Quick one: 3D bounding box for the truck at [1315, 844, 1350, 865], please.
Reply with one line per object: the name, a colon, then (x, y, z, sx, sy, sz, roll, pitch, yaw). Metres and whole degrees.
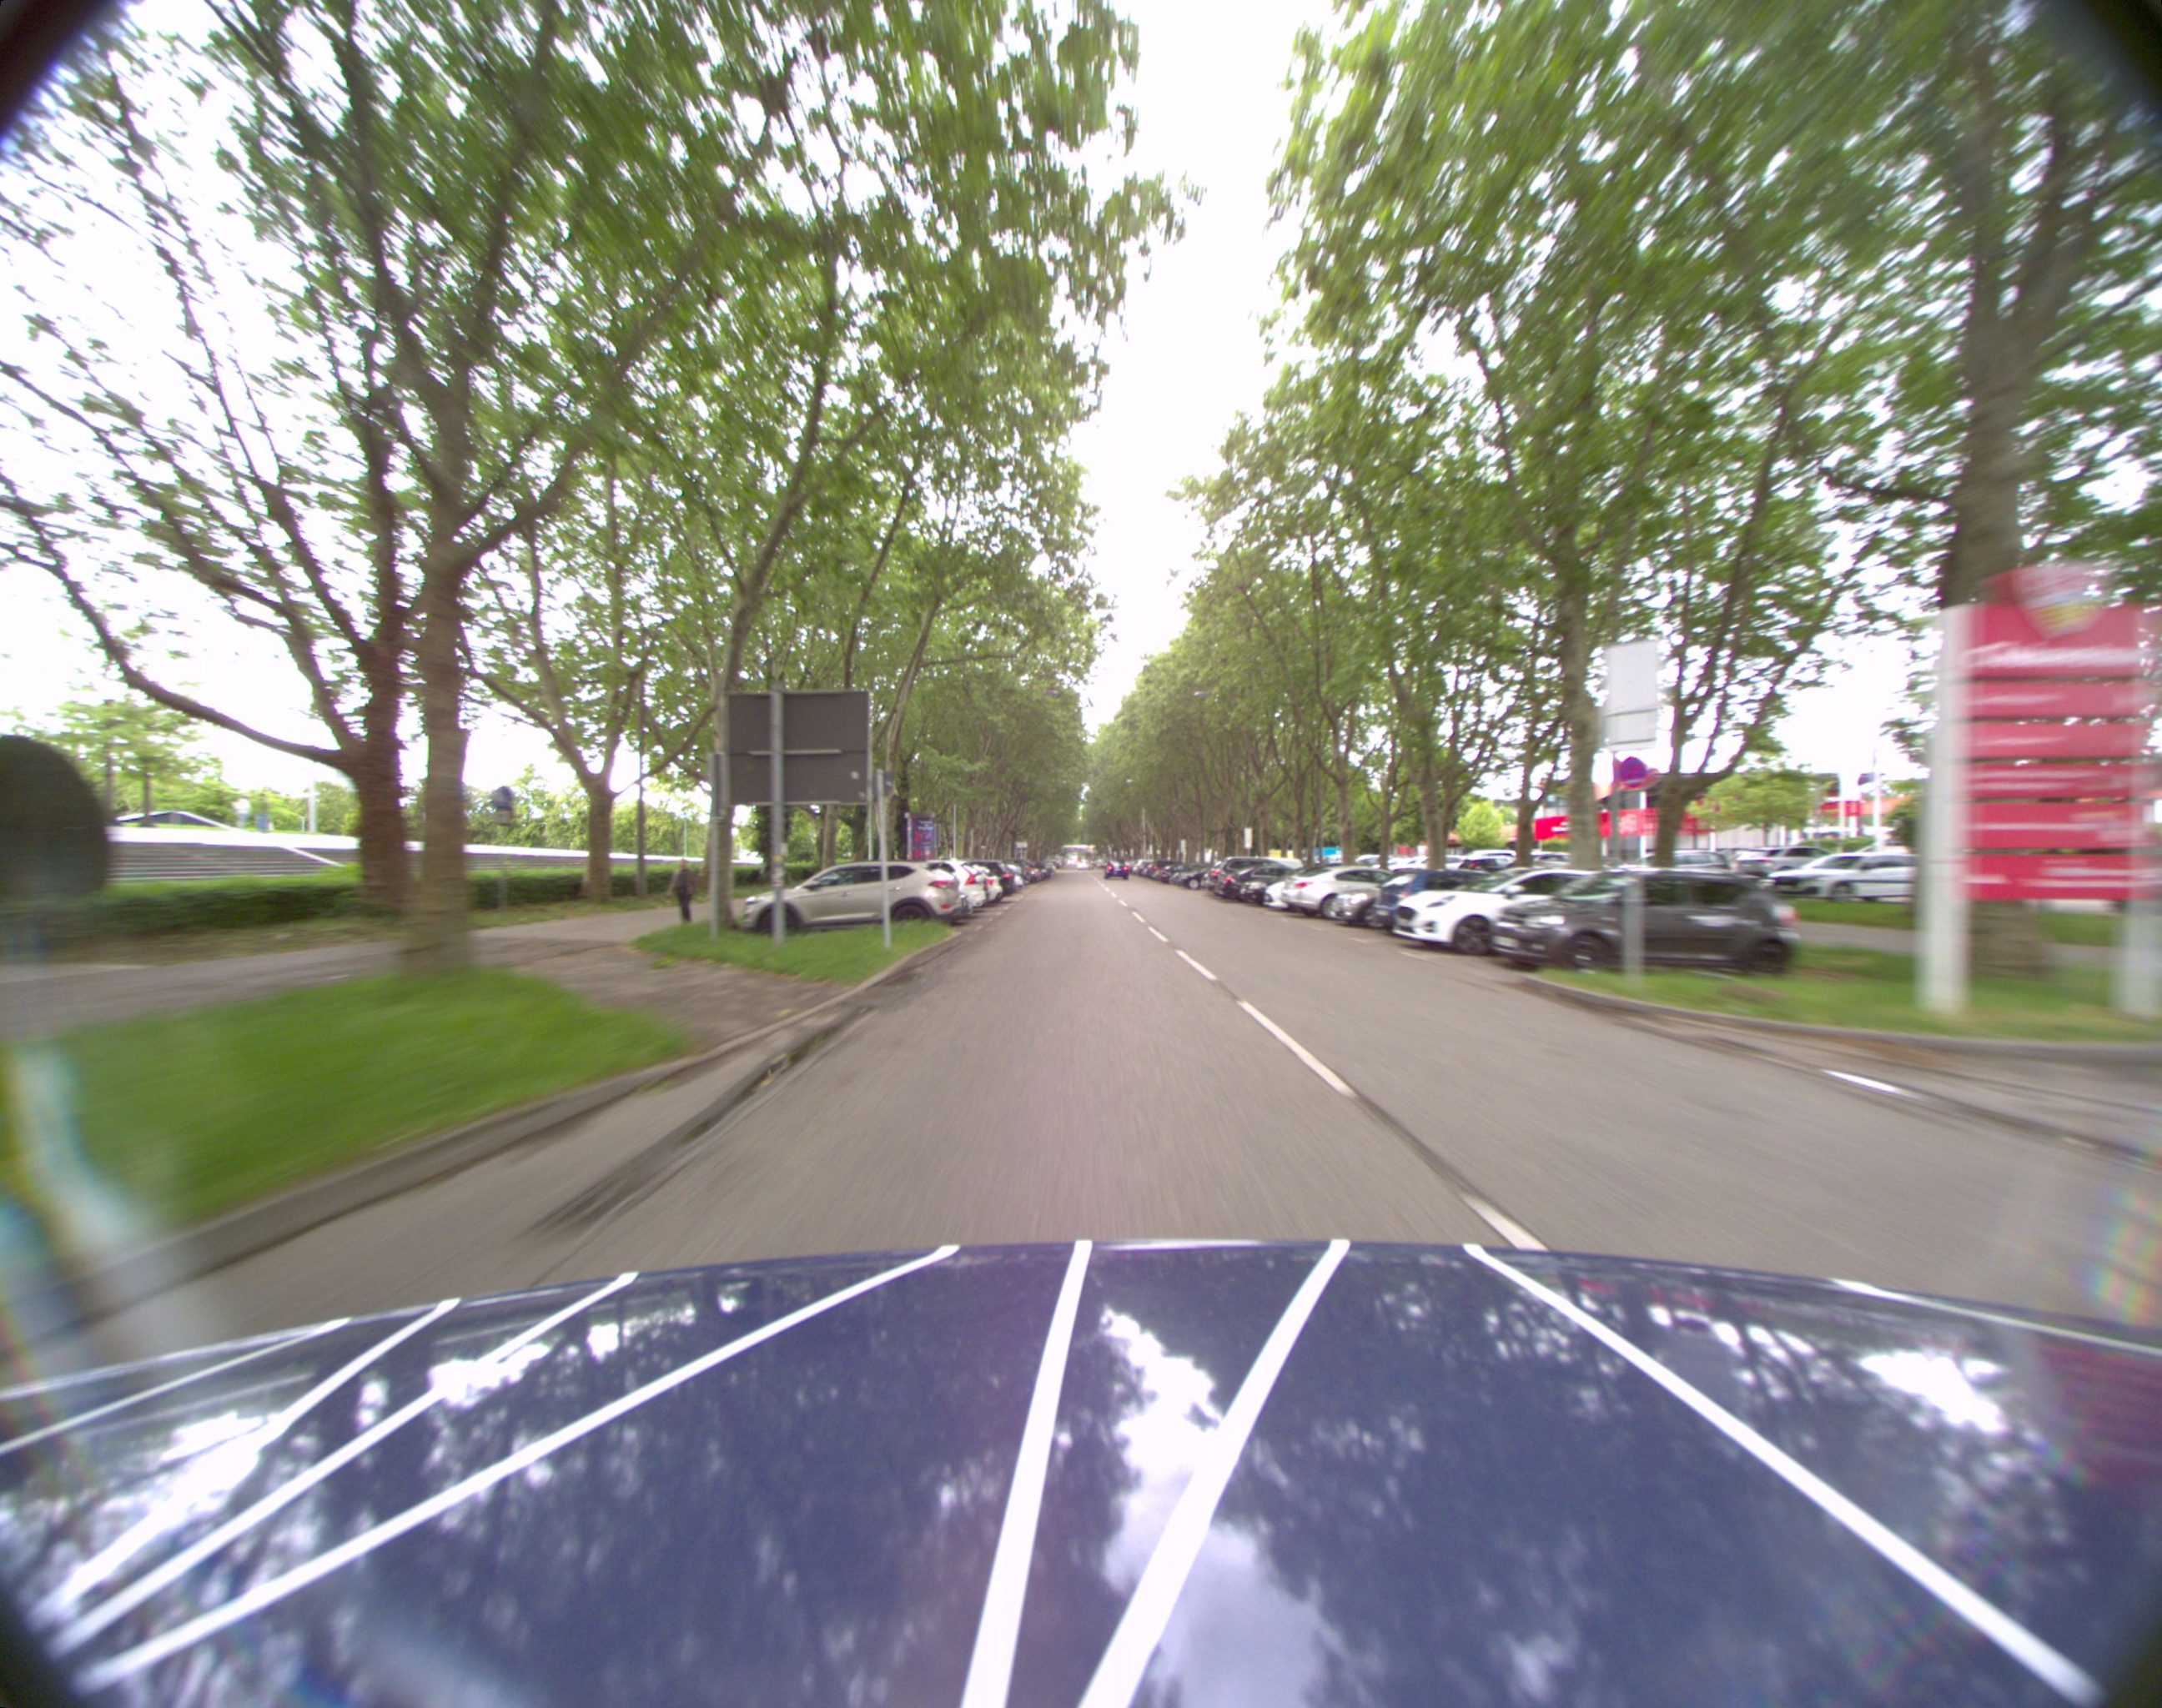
truck: (34.339, 0.076, 103.907, 3.997, 2.701, 2.376, -1, 1, -2)

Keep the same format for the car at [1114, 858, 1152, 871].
car: (6.381, 1.279, 93.395, 4.419, 1.416, 1.776, 1, 0, -2)

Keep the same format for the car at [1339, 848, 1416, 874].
car: (22.448, 0.514, 57.648, 4.955, 1.786, 2.182, -1, 1, -3)

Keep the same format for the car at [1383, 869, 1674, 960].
car: (7.703, 1.021, 13.422, 4.003, 1.376, 1.912, -1, 0, 3)

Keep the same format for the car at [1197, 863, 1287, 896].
car: (7.648, 1.191, 36.275, 3.796, 1.463, 1.763, 1, 0, -11)

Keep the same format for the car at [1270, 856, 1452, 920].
car: (7.665, 0.897, 21.092, 4.275, 1.539, 1.908, 2, 0, -2)

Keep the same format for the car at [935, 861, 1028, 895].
car: (-4.708, 1.147, 36.231, 4.159, 1.449, 1.727, -2, 0, 0)

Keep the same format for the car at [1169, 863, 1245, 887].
car: (7.995, 1.322, 48.421, 4.475, 1.358, 1.859, 2, 0, -2)

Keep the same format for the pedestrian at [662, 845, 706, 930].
pedestrian: (-9.612, 0.785, 18.407, 0.788, 2.002, 0.598, -1, 1, -17)

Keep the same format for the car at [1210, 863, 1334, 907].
car: (7.095, 1.140, 28.616, 4.139, 1.443, 2.014, 2, 0, 1)

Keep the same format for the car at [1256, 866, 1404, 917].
car: (7.687, 1.143, 23.717, 3.997, 1.396, 1.885, -1, 0, -2)

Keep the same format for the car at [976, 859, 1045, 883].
car: (-4.689, 1.129, 51.227, 4.356, 1.493, 1.926, -2, 0, 3)

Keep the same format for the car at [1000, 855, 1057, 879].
car: (-4.330, 1.097, 63.140, 4.507, 1.786, 2.047, -2, 0, -1)

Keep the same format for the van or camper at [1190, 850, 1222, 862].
van or camper: (22.635, 0.426, 137.612, 5.299, 2.087, 2.244, -1, 1, -3)

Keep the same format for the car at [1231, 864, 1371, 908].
car: (7.506, 1.083, 26.194, 4.200, 1.346, 1.967, -1, 0, -3)

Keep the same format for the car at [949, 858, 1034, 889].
car: (-5.085, 1.114, 43.701, 4.602, 1.629, 1.873, -2, 0, 2)

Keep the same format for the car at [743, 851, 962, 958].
car: (-4.714, 1.018, 16.177, 3.997, 2.001, 2.000, -2, 0, 0)

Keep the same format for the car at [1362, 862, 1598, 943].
car: (8.242, 0.967, 15.957, 4.004, 1.485, 1.832, -1, 1, -1)

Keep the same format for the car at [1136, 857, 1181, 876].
car: (7.225, 1.138, 71.326, 3.997, 1.672, 1.855, -1, 1, 1)

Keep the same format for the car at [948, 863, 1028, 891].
car: (-4.980, 1.217, 41.132, 4.051, 1.371, 1.744, -2, 0, 0)

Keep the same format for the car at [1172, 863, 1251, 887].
car: (7.820, 1.271, 45.867, 4.474, 1.340, 1.902, 1, 0, 1)

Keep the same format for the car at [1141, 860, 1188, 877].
car: (7.472, 1.308, 68.540, 3.998, 1.361, 1.843, -1, 0, -2)

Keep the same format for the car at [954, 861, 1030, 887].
car: (-5.374, 1.187, 46.334, 4.357, 1.405, 1.926, -2, -1, 0)

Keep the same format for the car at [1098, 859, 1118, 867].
car: (5.523, 1.768, 153.659, 3.996, 1.422, 2.001, 1, -1, 2)

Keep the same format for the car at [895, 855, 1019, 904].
car: (-4.562, 0.931, 28.526, 4.358, 1.750, 1.925, 0, 0, -2)

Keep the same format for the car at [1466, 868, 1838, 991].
car: (8.051, 1.027, 11.013, 4.003, 1.531, 1.805, -1, 1, 1)

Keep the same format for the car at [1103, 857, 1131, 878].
car: (2.821, 1.061, 59.999, 1.847, 1.501, 4.014, -1, 0, -2)

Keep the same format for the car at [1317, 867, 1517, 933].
car: (7.994, 1.060, 18.354, 3.997, 1.397, 1.862, -1, 1, -1)

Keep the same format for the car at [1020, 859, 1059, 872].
car: (-5.141, 1.419, 93.869, 4.598, 1.409, 1.719, -1, 0, 3)

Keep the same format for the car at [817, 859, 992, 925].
car: (-4.809, 1.027, 21.145, 4.357, 1.624, 1.926, -2, 0, 0)

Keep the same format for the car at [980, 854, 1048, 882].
car: (-4.691, 0.972, 54.003, 4.505, 1.786, 2.048, -2, 0, 4)

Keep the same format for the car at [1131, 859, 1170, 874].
car: (7.380, 1.301, 81.155, 3.997, 1.444, 1.855, -1, 1, 1)

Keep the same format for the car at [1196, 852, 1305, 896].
car: (7.433, 0.872, 33.574, 4.330, 1.799, 1.867, 1, 0, -4)

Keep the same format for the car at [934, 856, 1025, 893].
car: (-5.128, 1.037, 38.783, 4.358, 1.735, 1.837, -2, 0, -2)
